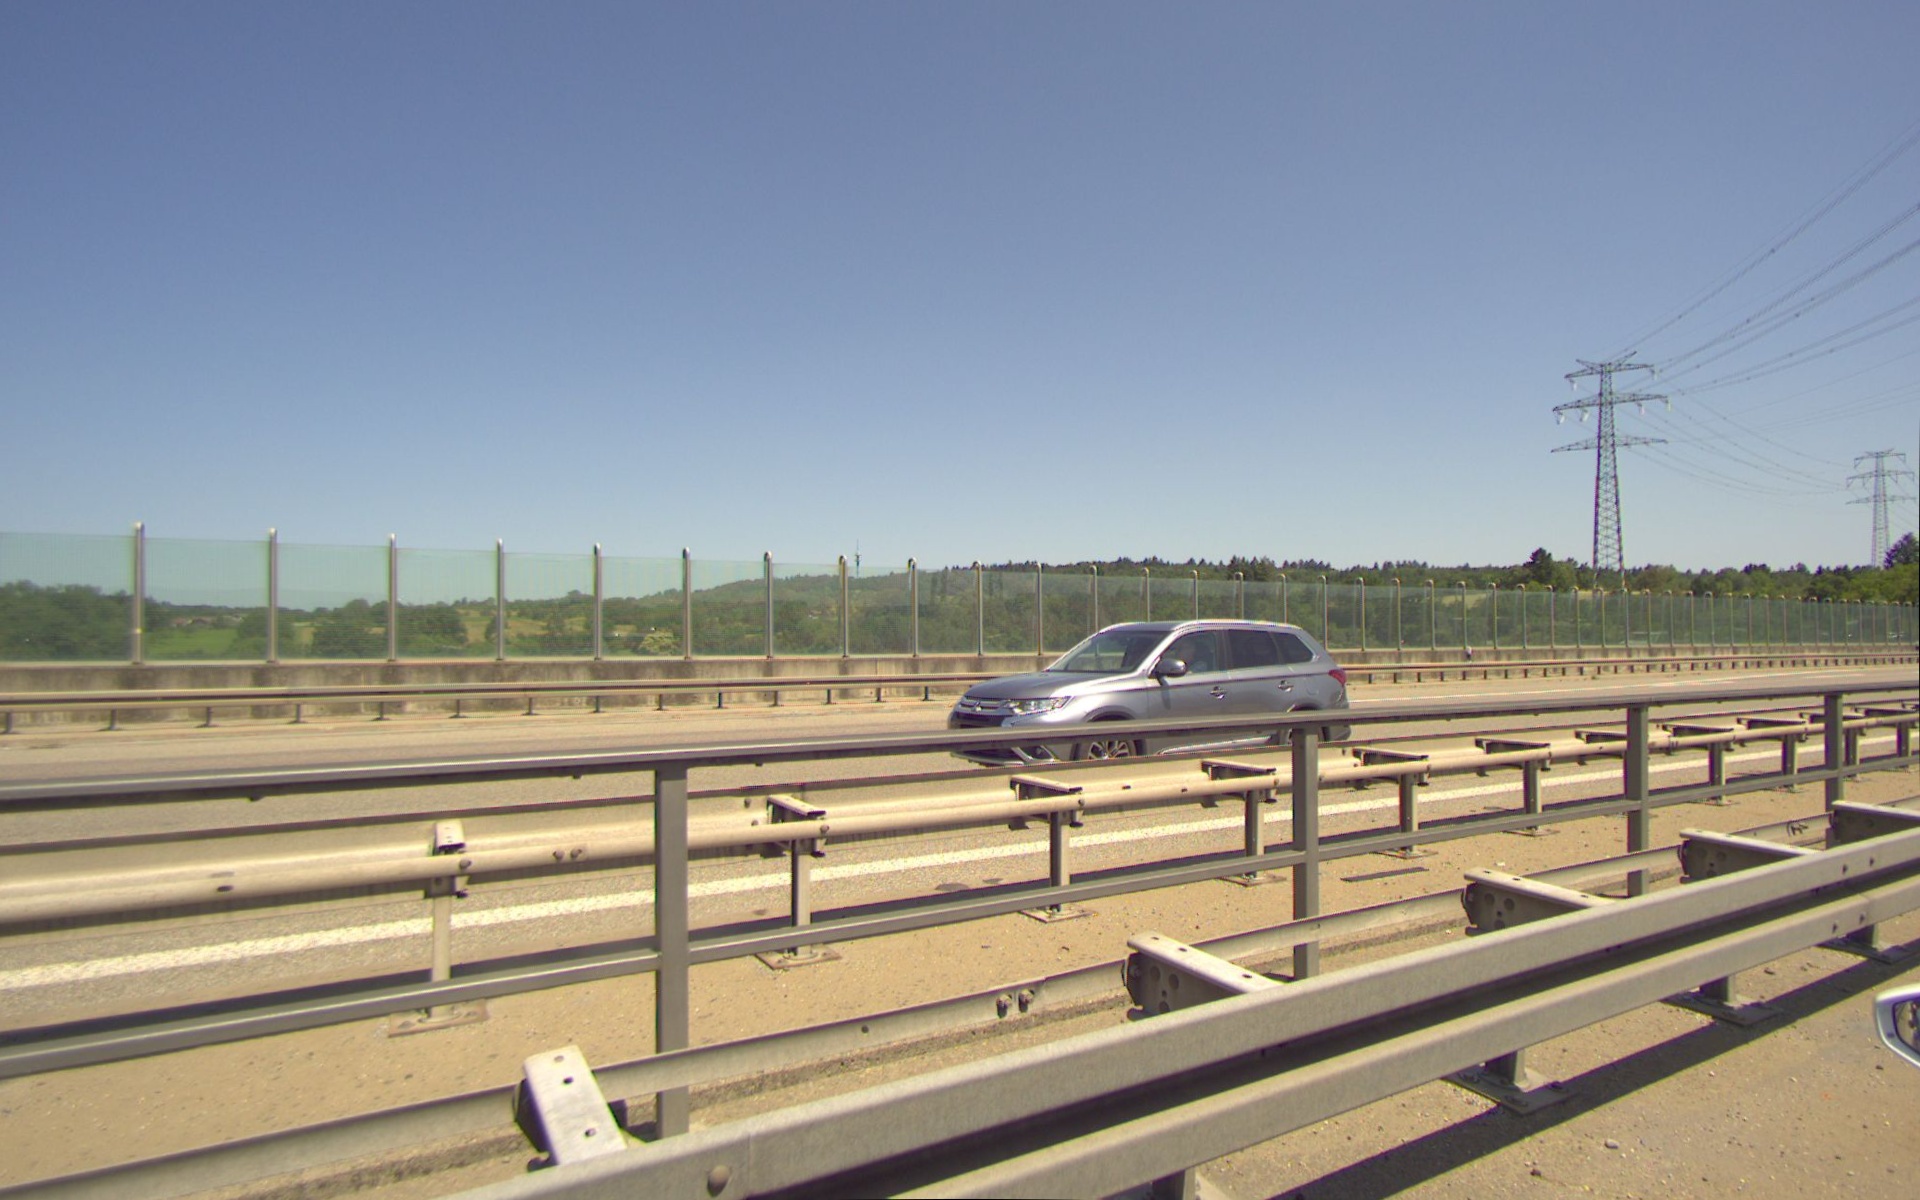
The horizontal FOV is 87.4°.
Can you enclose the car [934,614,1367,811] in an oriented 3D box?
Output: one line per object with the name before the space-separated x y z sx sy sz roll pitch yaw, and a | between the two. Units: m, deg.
car | 2.100 1.030 10.656 4.426 1.649 1.796 1 1 -31
